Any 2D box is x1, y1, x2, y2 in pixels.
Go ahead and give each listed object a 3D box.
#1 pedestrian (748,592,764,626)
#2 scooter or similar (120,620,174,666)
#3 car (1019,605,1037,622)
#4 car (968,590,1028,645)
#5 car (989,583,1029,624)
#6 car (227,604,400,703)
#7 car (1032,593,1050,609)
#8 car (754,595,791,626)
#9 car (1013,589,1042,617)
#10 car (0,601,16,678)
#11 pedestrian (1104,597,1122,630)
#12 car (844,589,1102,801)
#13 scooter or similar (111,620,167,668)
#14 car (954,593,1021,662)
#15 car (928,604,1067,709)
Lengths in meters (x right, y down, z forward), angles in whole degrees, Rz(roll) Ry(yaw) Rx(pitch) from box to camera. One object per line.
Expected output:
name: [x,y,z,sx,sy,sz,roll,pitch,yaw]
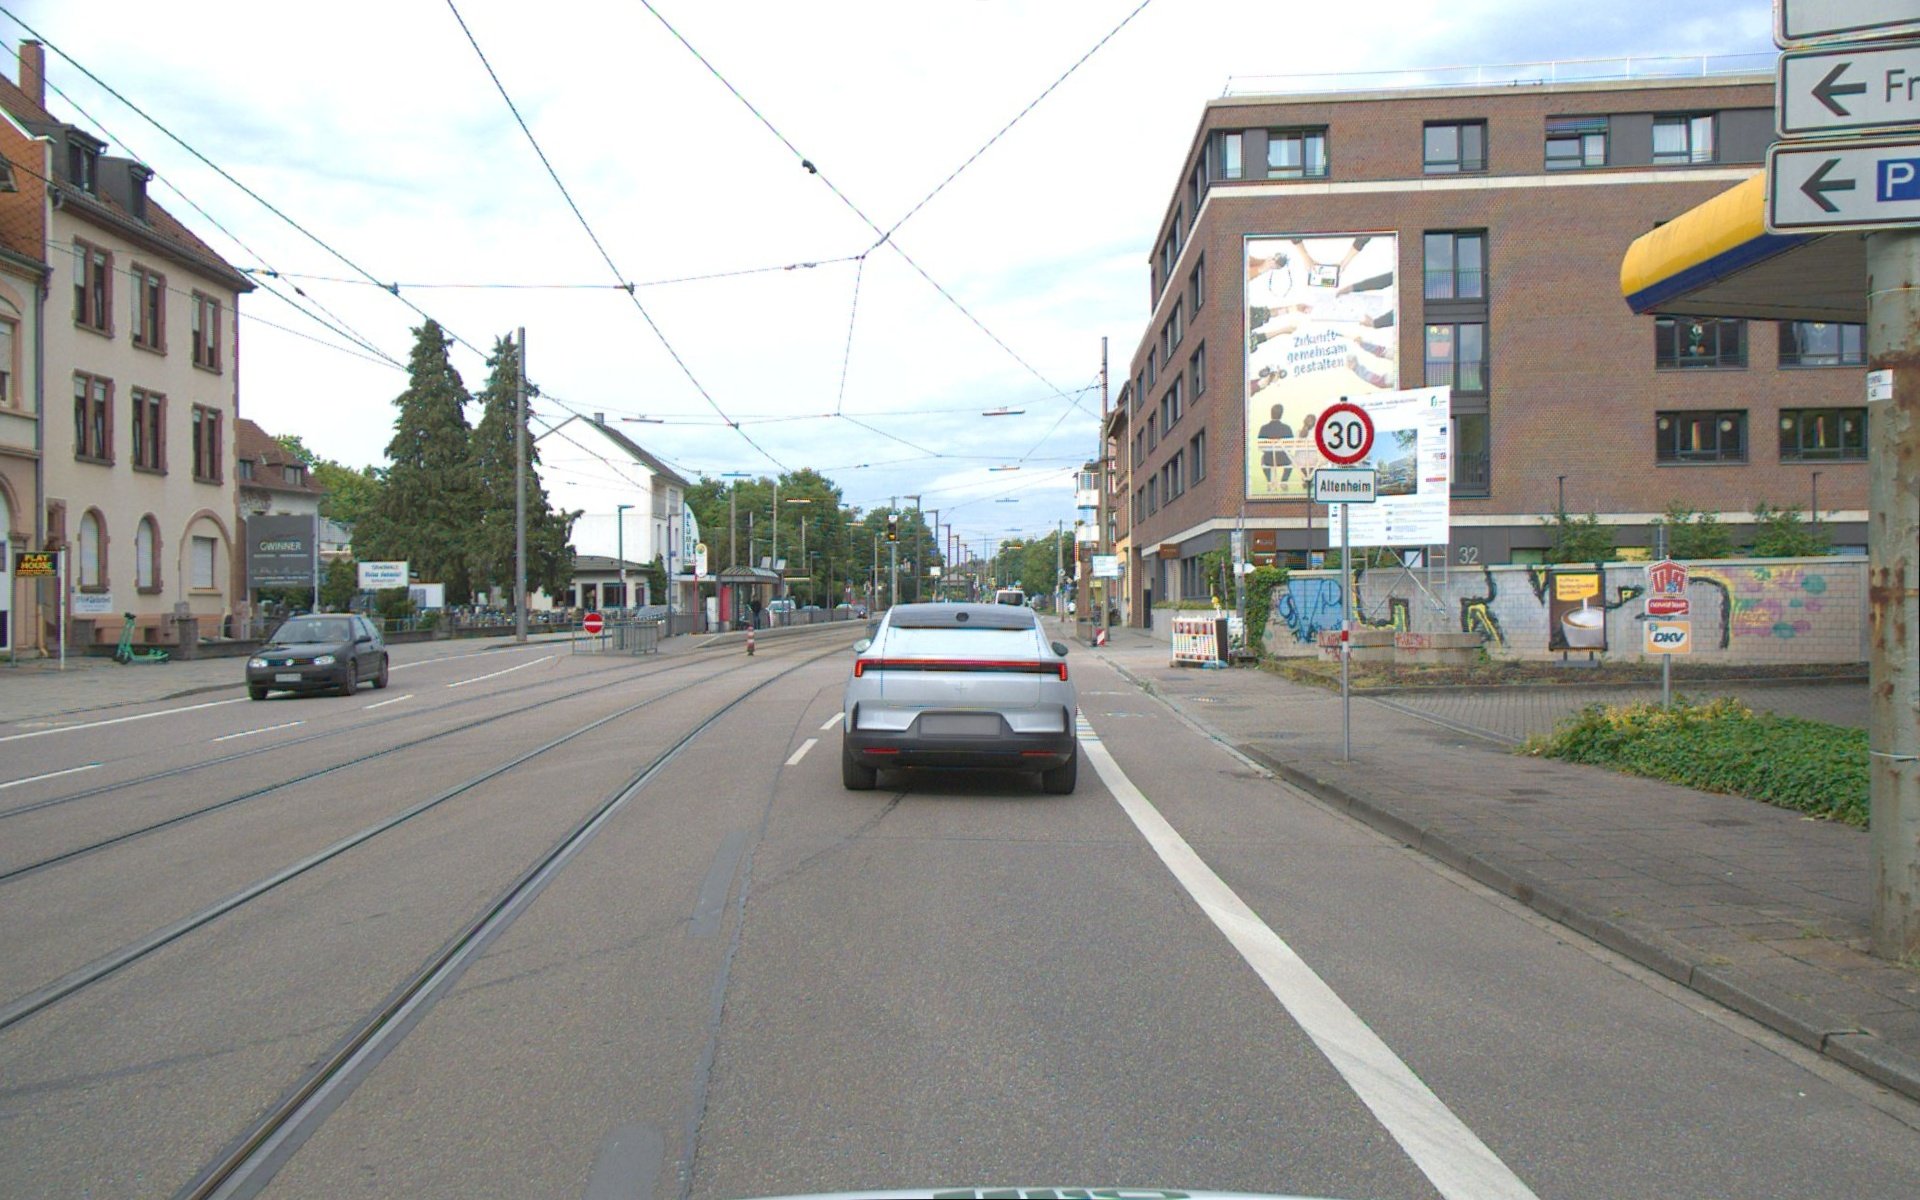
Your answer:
pedestrian: [-10.054,0.443,81.459,0.602,1.694,0.698,0,-1,5]
scooter or similar: [-20.047,1.064,40.788,1.163,1.121,0.522,1,-1,-32]
car: [8.457,1.646,204.937,1.953,2.049,3.999,0,-1,-1]
car: [1.318,0.606,58.713,1.953,1.847,3.999,-1,0,-1]
car: [3.016,0.245,102.368,2.181,2.444,5.121,0,0,-1]
car: [-11.448,0.900,29.578,1.755,1.556,4.136,-2,0,-6]
car: [12.819,0.218,263.177,2.749,2.549,5.724,0,0,2]
car: [-12.563,0.707,110.977,1.845,2.023,4.525,-1,0,0]
car: [5.038,0.241,124.223,1.953,2.049,3.999,0,-1,-1]
car: [-19.808,0.757,30.681,1.954,1.519,4.900,0,0,-3]
pedestrian: [9.032,0.773,97.735,0.940,1.882,0.976,-3,0,8]
car: [0.026,0.750,14.642,1.959,1.608,3.998,1,-1,-2]
scooter or similar: [-19.838,1.059,39.977,1.163,1.121,0.522,1,-1,-32]
car: [0.766,0.714,43.549,1.646,1.717,3.824,0,0,2]
car: [0.568,0.807,25.519,1.952,1.444,4.000,-1,0,1]
